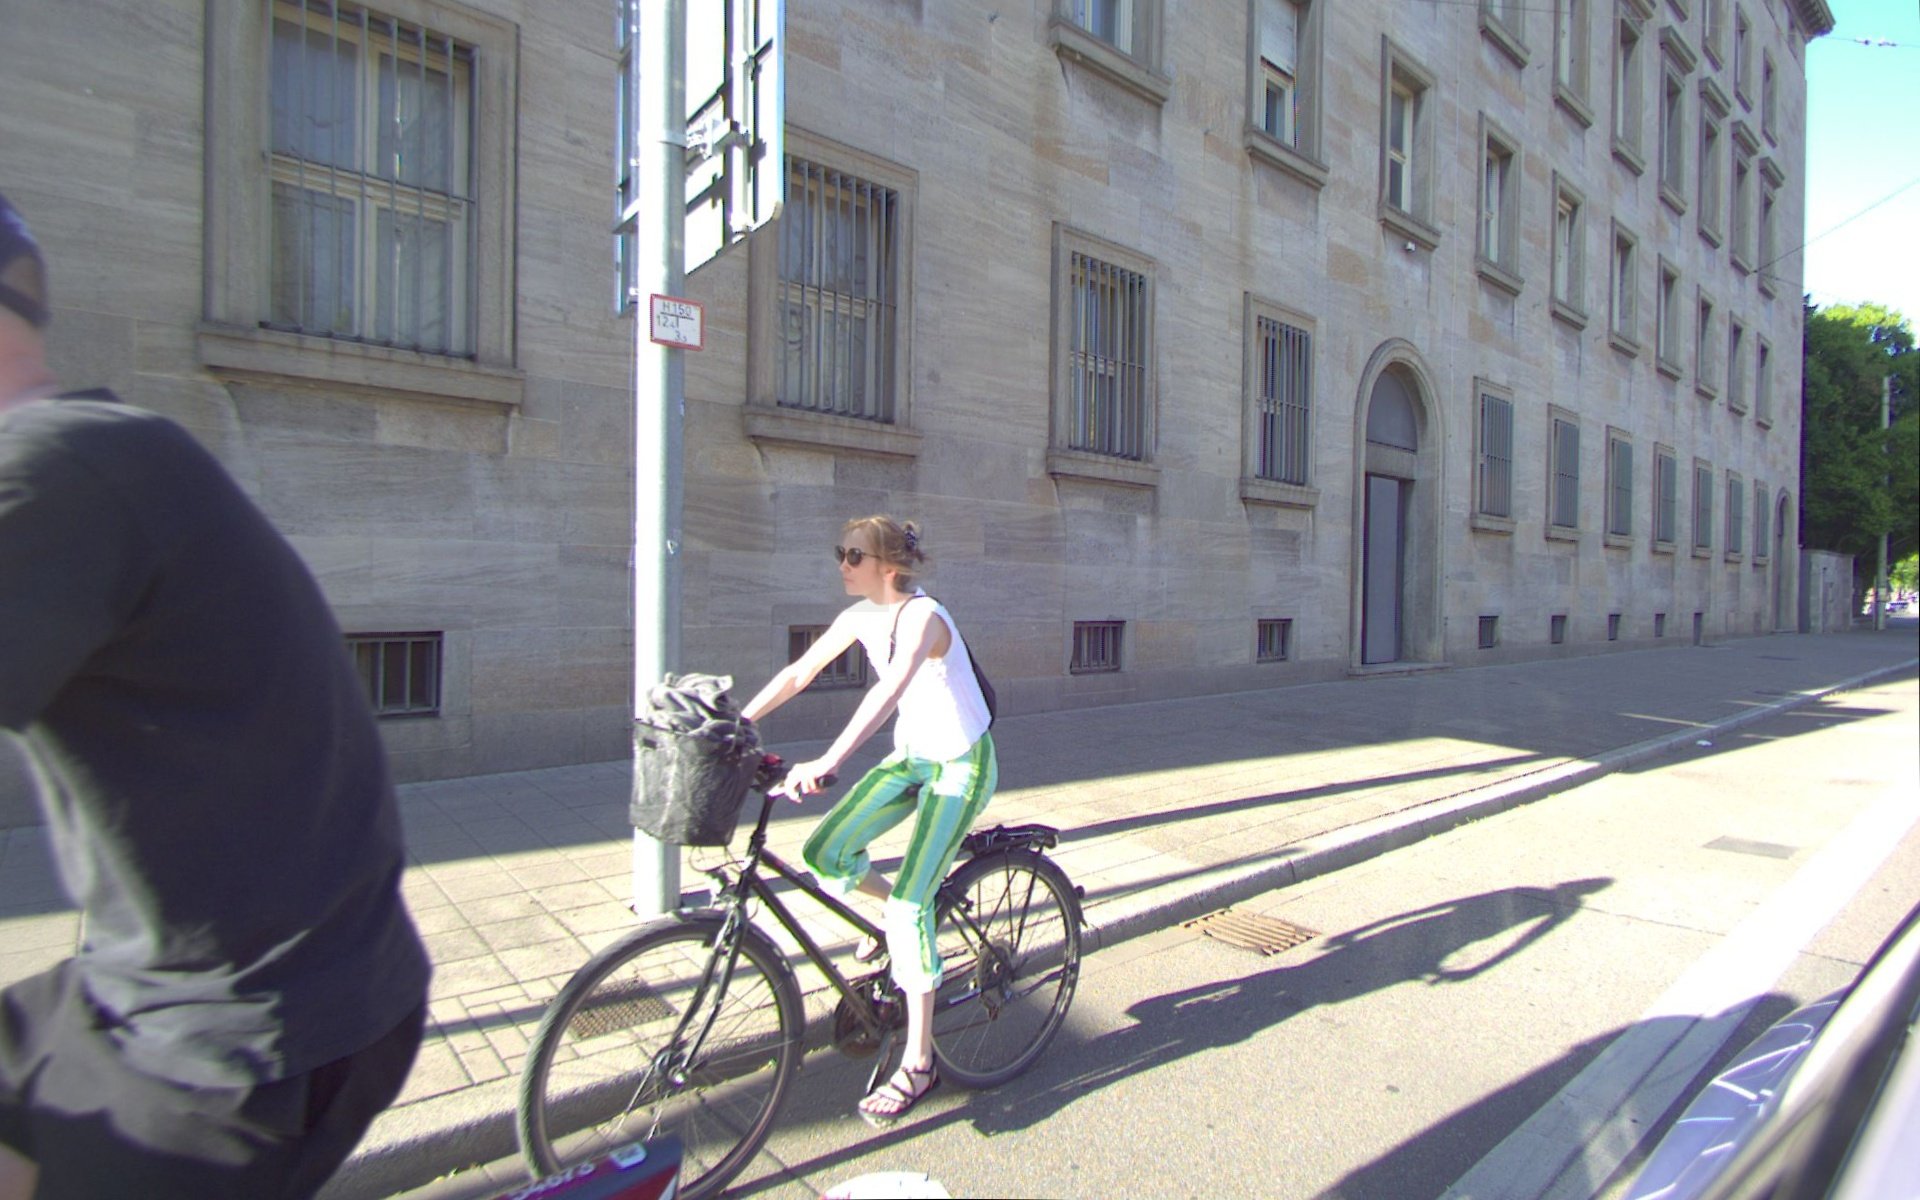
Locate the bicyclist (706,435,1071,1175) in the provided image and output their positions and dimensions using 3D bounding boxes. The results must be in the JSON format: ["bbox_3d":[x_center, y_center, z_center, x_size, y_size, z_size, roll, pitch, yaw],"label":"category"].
[{"bbox_3d":[-0.186,0.466,2.798,0.844,1.700,0.522,0,1,-41],"label":"bicyclist"}]

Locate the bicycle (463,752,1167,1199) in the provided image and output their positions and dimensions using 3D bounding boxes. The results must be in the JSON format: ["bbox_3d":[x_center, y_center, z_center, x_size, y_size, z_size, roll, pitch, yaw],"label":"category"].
[{"bbox_3d":[-0.248,0.957,2.750,1.915,0.887,0.428,2,0,-38],"label":"bicycle"}]

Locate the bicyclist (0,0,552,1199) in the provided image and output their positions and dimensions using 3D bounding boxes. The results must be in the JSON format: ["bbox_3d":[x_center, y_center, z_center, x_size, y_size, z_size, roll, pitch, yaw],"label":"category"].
[{"bbox_3d":[-0.799,0.345,0.896,0.645,1.699,0.672,0,1,-38],"label":"bicyclist"}]

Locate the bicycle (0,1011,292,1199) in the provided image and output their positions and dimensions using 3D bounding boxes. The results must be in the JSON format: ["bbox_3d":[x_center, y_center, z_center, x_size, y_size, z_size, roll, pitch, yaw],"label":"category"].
[{"bbox_3d":[-1.516,0.955,0.545,1.912,0.916,0.391,0,1,-32],"label":"bicycle"}]
